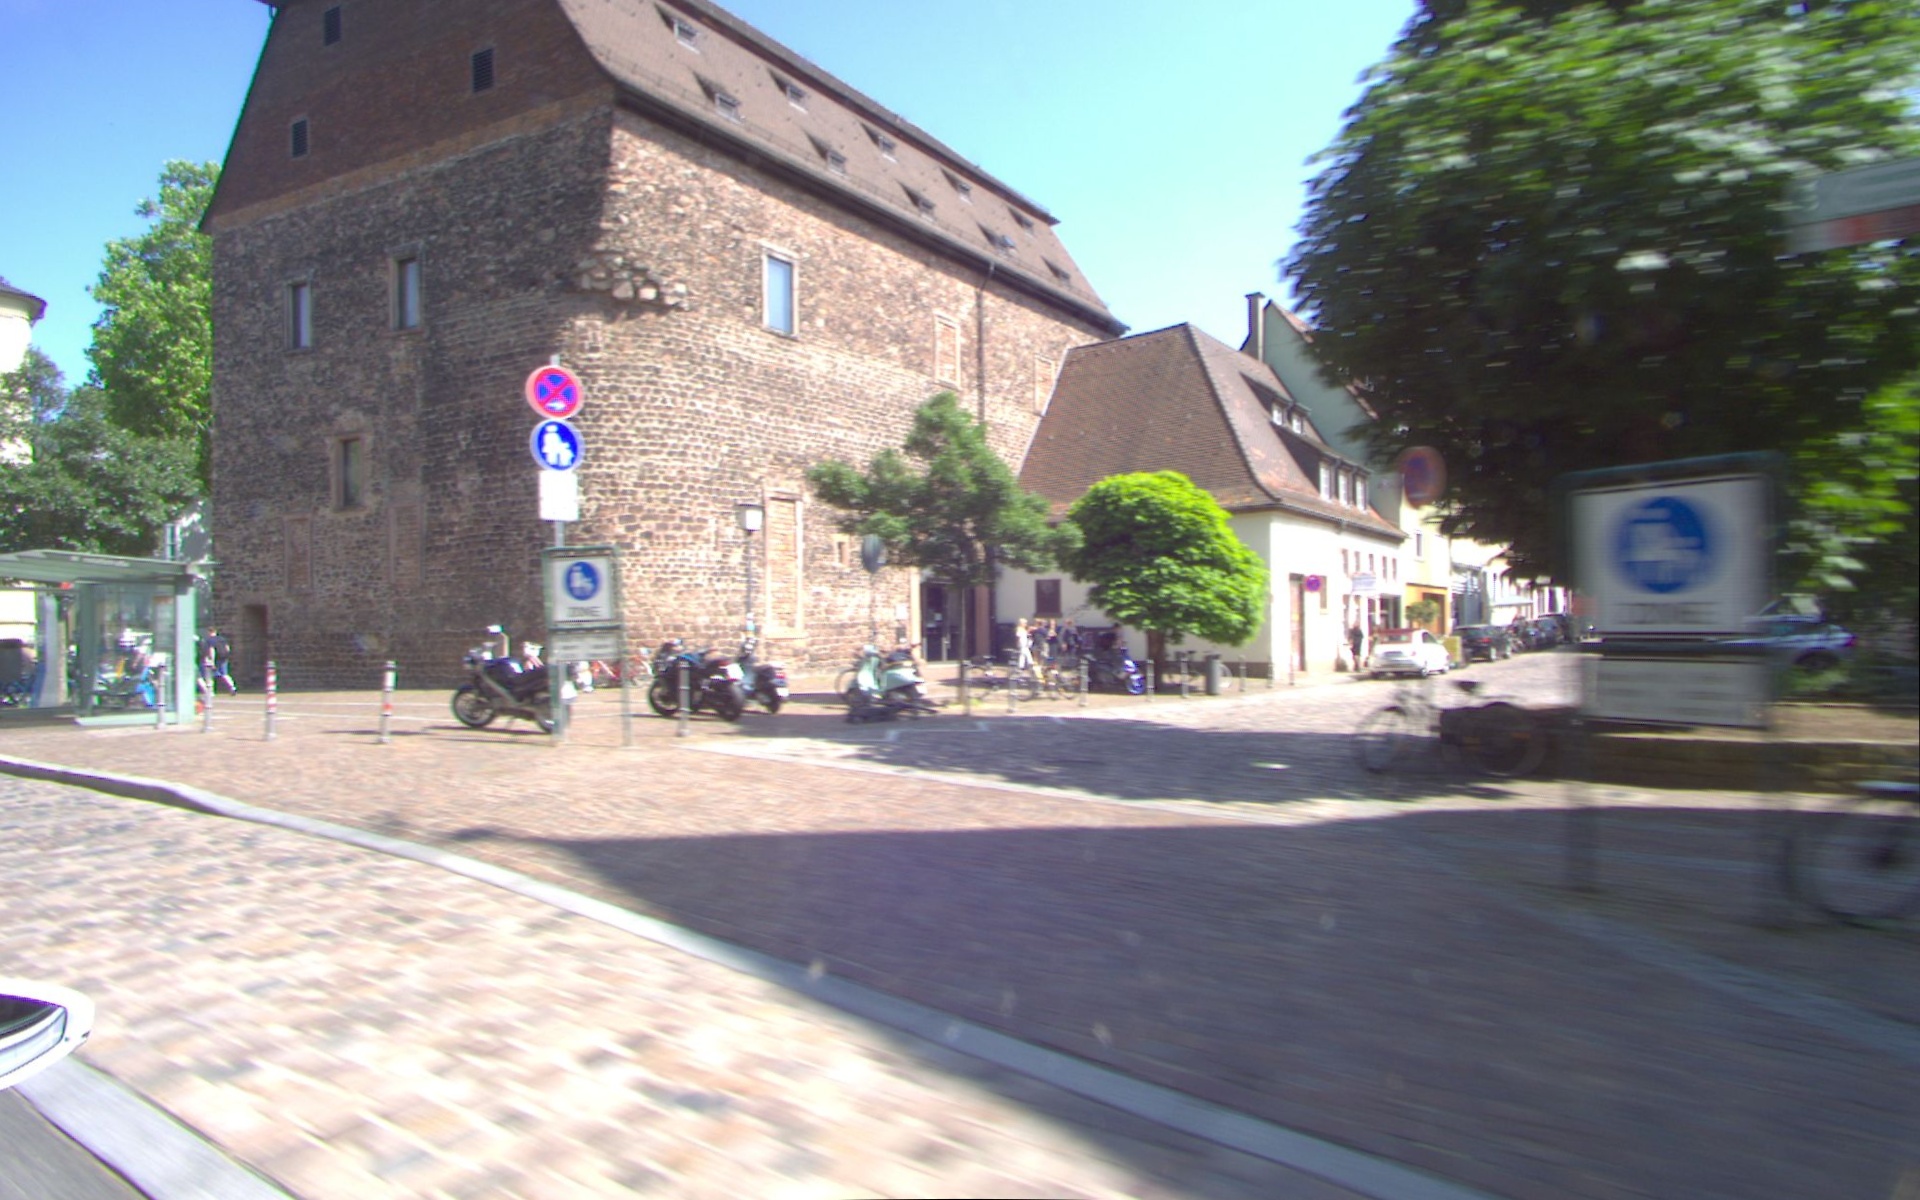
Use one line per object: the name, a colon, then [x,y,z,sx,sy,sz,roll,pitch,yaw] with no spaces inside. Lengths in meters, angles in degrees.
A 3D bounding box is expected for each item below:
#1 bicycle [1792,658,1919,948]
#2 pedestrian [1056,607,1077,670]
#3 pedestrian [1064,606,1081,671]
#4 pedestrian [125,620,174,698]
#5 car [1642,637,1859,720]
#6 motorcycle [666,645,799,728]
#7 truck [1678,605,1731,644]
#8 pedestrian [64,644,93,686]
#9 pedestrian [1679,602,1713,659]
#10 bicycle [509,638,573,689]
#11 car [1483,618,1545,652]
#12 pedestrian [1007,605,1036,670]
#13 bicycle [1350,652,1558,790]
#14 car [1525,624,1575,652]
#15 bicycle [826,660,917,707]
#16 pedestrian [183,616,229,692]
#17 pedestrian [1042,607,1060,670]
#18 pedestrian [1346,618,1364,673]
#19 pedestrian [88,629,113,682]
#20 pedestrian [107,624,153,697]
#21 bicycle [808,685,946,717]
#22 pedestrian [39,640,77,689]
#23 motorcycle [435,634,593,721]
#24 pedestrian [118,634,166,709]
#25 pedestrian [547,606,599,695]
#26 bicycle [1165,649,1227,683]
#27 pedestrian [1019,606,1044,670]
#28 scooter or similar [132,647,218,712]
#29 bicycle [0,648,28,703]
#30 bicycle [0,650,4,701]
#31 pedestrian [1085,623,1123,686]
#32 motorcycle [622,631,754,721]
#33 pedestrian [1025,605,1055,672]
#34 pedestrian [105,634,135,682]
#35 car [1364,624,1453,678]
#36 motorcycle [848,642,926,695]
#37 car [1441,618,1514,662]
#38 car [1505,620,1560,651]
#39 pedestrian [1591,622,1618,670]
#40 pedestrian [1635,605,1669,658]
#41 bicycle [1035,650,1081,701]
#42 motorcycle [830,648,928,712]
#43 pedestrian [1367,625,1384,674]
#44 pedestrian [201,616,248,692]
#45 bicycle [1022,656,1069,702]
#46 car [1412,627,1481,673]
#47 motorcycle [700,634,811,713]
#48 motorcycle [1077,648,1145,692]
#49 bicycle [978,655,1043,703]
bicycle: [4.471,0.858,4.001,1.751,1.219,0.192,-1,-2,44]
pedestrian: [3.448,1.250,32.352,0.520,2.038,0.439,-3,-4,45]
pedestrian: [3.553,1.226,31.600,0.435,2.038,0.620,-1,-3,17]
pedestrian: [-20.123,1.469,24.874,0.809,1.907,0.667,-2,-4,32]
car: [18.963,1.888,24.218,3.952,1.842,1.723,-3,-5,38]
motorcycle: [-3.671,1.366,16.059,2.280,1.250,0.674,-2,-4,33]
truck: [41.345,1.412,55.580,1.978,1.993,3.969,-3,-5,41]
pedestrian: [-42.883,3.160,48.720,0.728,2.038,0.838,-2,-4,33]
pedestrian: [26.946,1.125,36.682,0.867,2.038,0.739,-2,-4,32]
bicycle: [-10.311,1.559,24.619,1.691,1.224,0.389,-2,-3,25]
car: [25.546,1.652,46.098,1.975,1.430,3.976,-3,-5,37]
pedestrian: [1.952,1.207,31.820,0.787,2.038,0.735,0,-3,-8]
bicycle: [4.624,1.095,9.445,1.707,1.177,0.445,-1,-1,36]
car: [32.636,2.140,55.386,1.975,1.430,3.977,-3,-5,36]
bicycle: [-1.706,1.592,19.179,1.898,0.830,0.353,-1,-3,32]
pedestrian: [-19.709,1.410,26.189,0.809,1.943,0.667,-2,-4,32]
pedestrian: [2.966,1.258,32.692,0.499,2.038,0.442,-1,-3,21]
pedestrian: [13.249,1.515,33.590,0.464,1.829,0.532,0,-1,34]
pedestrian: [-27.609,1.790,32.171,0.460,1.701,0.448,-2,-4,35]
pedestrian: [-21.263,1.537,25.646,0.835,1.825,0.651,-1,-2,32]
bicycle: [-1.214,1.491,14.919,1.916,0.386,0.909,2,-4,-43]
pedestrian: [-38.026,2.735,42.220,0.796,2.038,0.943,-2,-4,33]
motorcycle: [-5.712,0.957,12.749,2.454,1.025,0.565,-1,-1,32]
pedestrian: [-15.767,1.375,19.304,0.580,1.402,0.556,-2,-4,35]
pedestrian: [-8.726,1.131,22.598,0.898,1.974,0.829,0,-1,-5]
bicycle: [6.377,1.788,27.082,1.566,0.890,0.419,-2,-4,32]
pedestrian: [2.344,1.251,32.673,0.556,2.038,0.648,2,-3,-29]
scooter or similar: [-13.449,1.358,17.175,0.318,1.078,1.088,-2,-4,30]
bicycle: [-20.286,1.578,20.902,0.175,1.141,1.308,-1,-4,14]
bicycle: [-20.961,1.598,21.146,0.175,1.083,1.162,-1,-4,14]
pedestrian: [3.967,1.491,27.629,0.799,1.684,0.652,0,-1,-33]
motorcycle: [-4.138,1.139,15.141,2.169,1.282,0.654,-2,-3,33]
pedestrian: [2.472,1.194,30.844,0.759,2.038,0.692,-1,-3,20]
pedestrian: [-27.320,1.882,32.575,0.460,1.550,0.621,-2,-4,37]
car: [14.205,1.584,31.619,1.814,1.591,3.824,-3,-3,36]
motorcycle: [-1.526,1.448,21.122,0.474,1.066,1.858,-3,-5,40]
car: [20.532,1.575,39.629,1.974,1.610,3.975,-3,-3,36]
car: [28.790,1.817,50.299,1.975,1.430,3.977,-3,-5,36]
pedestrian: [22.164,1.586,34.435,0.711,1.606,0.722,-2,-1,35]
pedestrian: [26.941,1.244,39.011,1.011,2.038,0.973,-2,-4,35]
bicycle: [2.168,1.663,22.218,0.355,1.098,1.377,1,-3,-26]
motorcycle: [-1.448,1.416,17.730,1.814,1.086,0.506,-2,-4,33]
pedestrian: [13.774,1.639,33.203,0.435,1.603,0.458,0,1,34]
pedestrian: [-20.303,1.493,27.631,0.866,2.038,0.729,-2,-4,32]
bicycle: [1.831,1.704,21.641,0.355,0.961,1.377,1,-4,-26]
car: [16.942,1.716,34.791,1.473,1.473,3.138,-2,-2,39]
motorcycle: [-3.445,1.231,16.786,2.003,1.250,0.545,-2,-4,33]
motorcycle: [3.641,1.692,24.246,1.588,1.047,0.387,-2,-3,26]
bicycle: [1.055,1.663,21.078,1.362,0.978,0.359,-2,-4,32]
